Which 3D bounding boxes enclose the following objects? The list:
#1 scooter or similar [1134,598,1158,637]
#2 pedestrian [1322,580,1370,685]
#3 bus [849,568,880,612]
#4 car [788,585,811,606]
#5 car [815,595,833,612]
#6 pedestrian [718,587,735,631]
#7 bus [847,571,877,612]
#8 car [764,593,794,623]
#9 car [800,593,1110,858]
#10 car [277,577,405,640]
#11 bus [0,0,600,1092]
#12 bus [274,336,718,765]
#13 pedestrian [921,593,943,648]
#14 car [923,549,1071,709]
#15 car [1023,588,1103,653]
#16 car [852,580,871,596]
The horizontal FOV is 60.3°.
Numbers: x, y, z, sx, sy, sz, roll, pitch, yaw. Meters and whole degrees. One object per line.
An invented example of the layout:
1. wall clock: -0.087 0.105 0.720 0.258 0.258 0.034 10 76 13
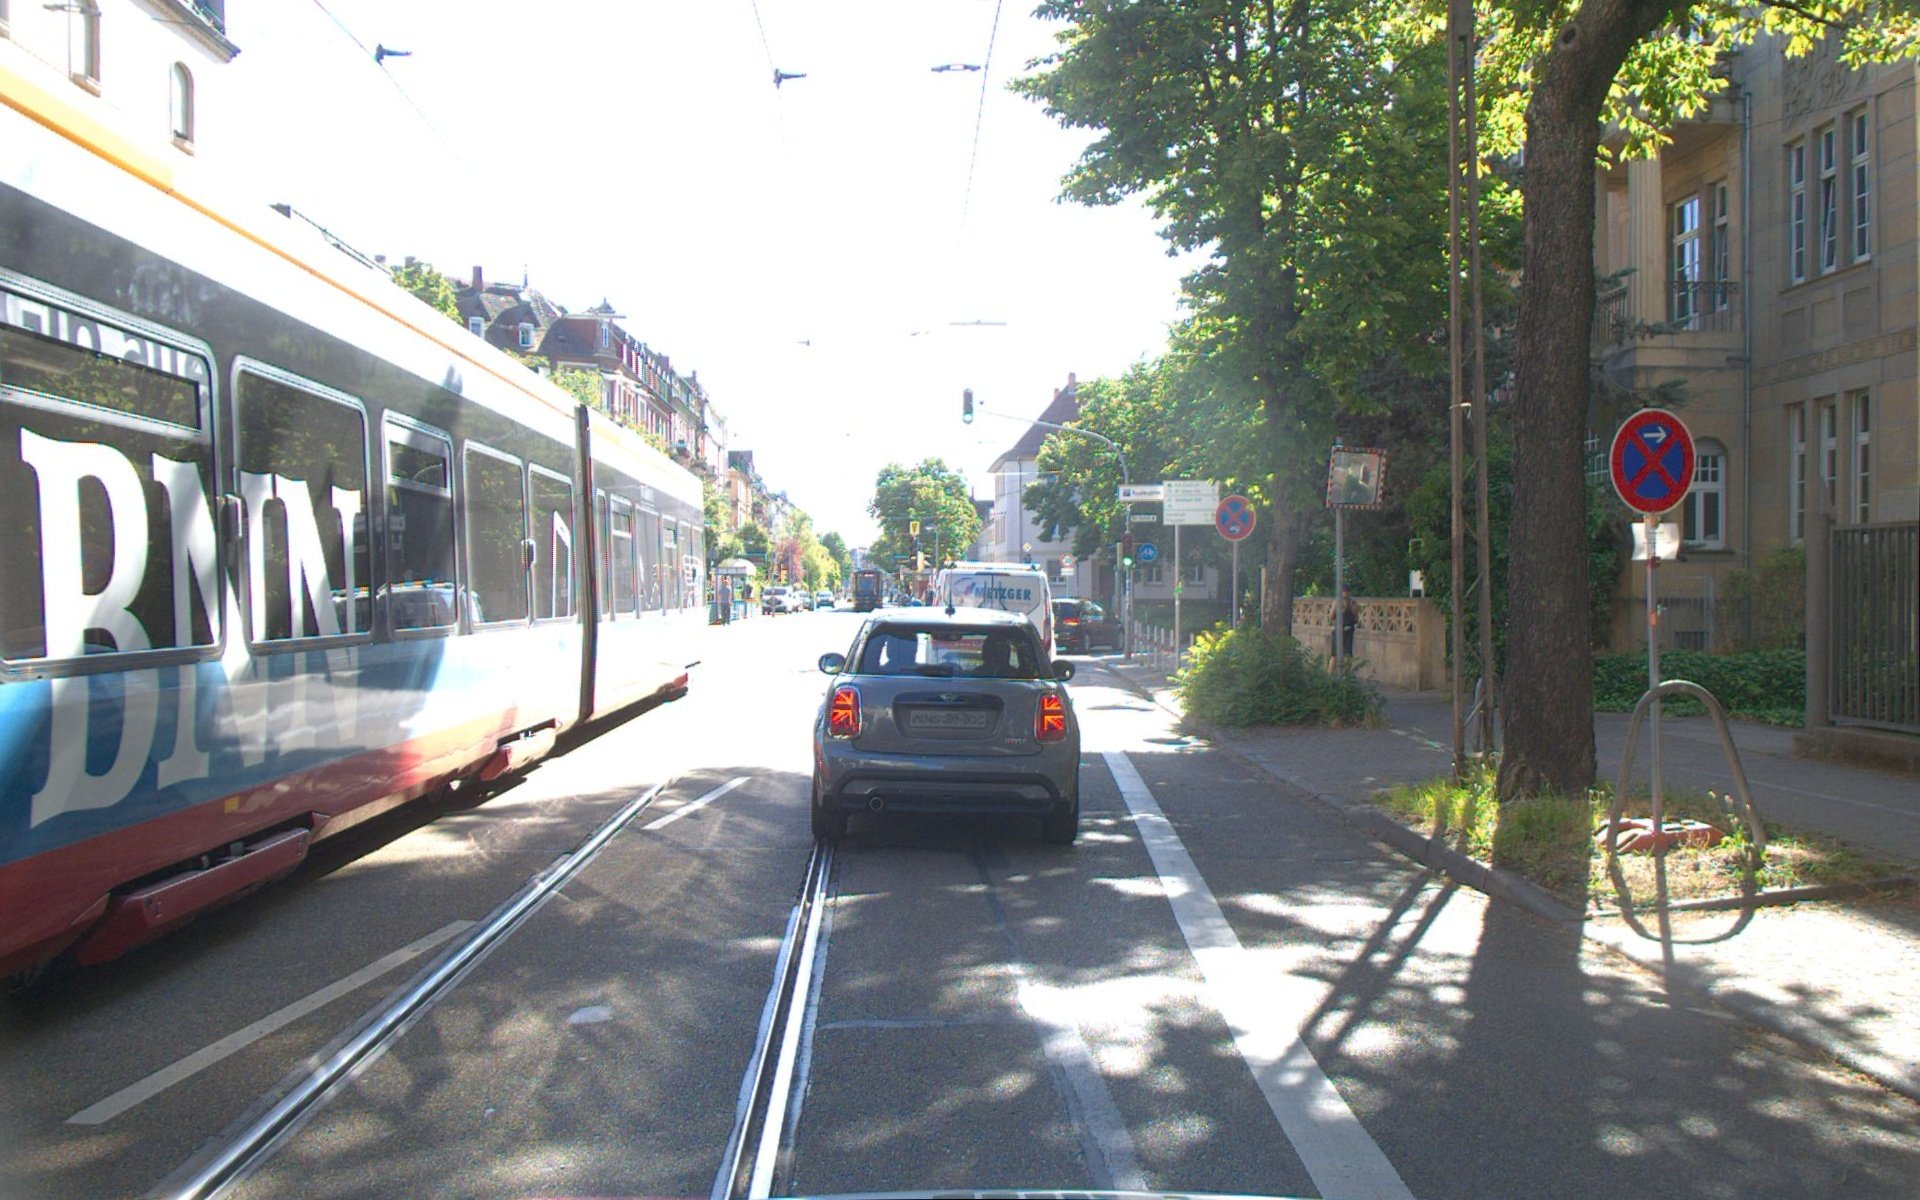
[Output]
1. scooter or similar: 6.613 0.618 58.801 0.662 1.333 1.328 1 -1 -2
2. pedestrian: 6.380 0.527 27.344 0.580 1.700 0.646 -2 -1 -1
3. bus: -8.100 -0.770 139.129 2.339 3.558 7.376 1 0 -5
4. car: -13.040 -0.341 134.427 1.741 1.646 3.996 1 0 -4
5. car: -13.589 0.398 164.948 1.741 1.646 3.996 1 0 -4
6. pedestrian: -9.633 0.361 68.230 0.569 1.826 0.604 0 0 -19
7. bus: -8.726 -0.714 146.551 2.339 3.558 7.376 1 0 -5
8. car: -12.950 0.547 117.987 1.956 2.049 5.020 1 0 -8
9. car: -0.055 0.747 11.620 1.778 1.514 3.999 1 0 -1
10. car: -21.200 0.280 56.687 3.910 2.049 1.997 1 -1 28
11. bus: -4.433 -0.475 9.495 2.803 3.843 11.176 1 0 -3
12. bus: -5.078 -0.400 21.079 2.793 3.843 12.189 1 0 -3
13. pedestrian: -1.060 0.784 62.642 0.779 2.049 0.740 1 -1 -2
14. car: 0.497 0.428 26.058 2.075 2.247 4.943 1 0 -1
15. car: 2.876 0.576 46.847 1.953 1.736 3.999 1 0 -1
16. car: -10.248 -1.211 172.111 1.827 1.591 3.996 1 0 -4
